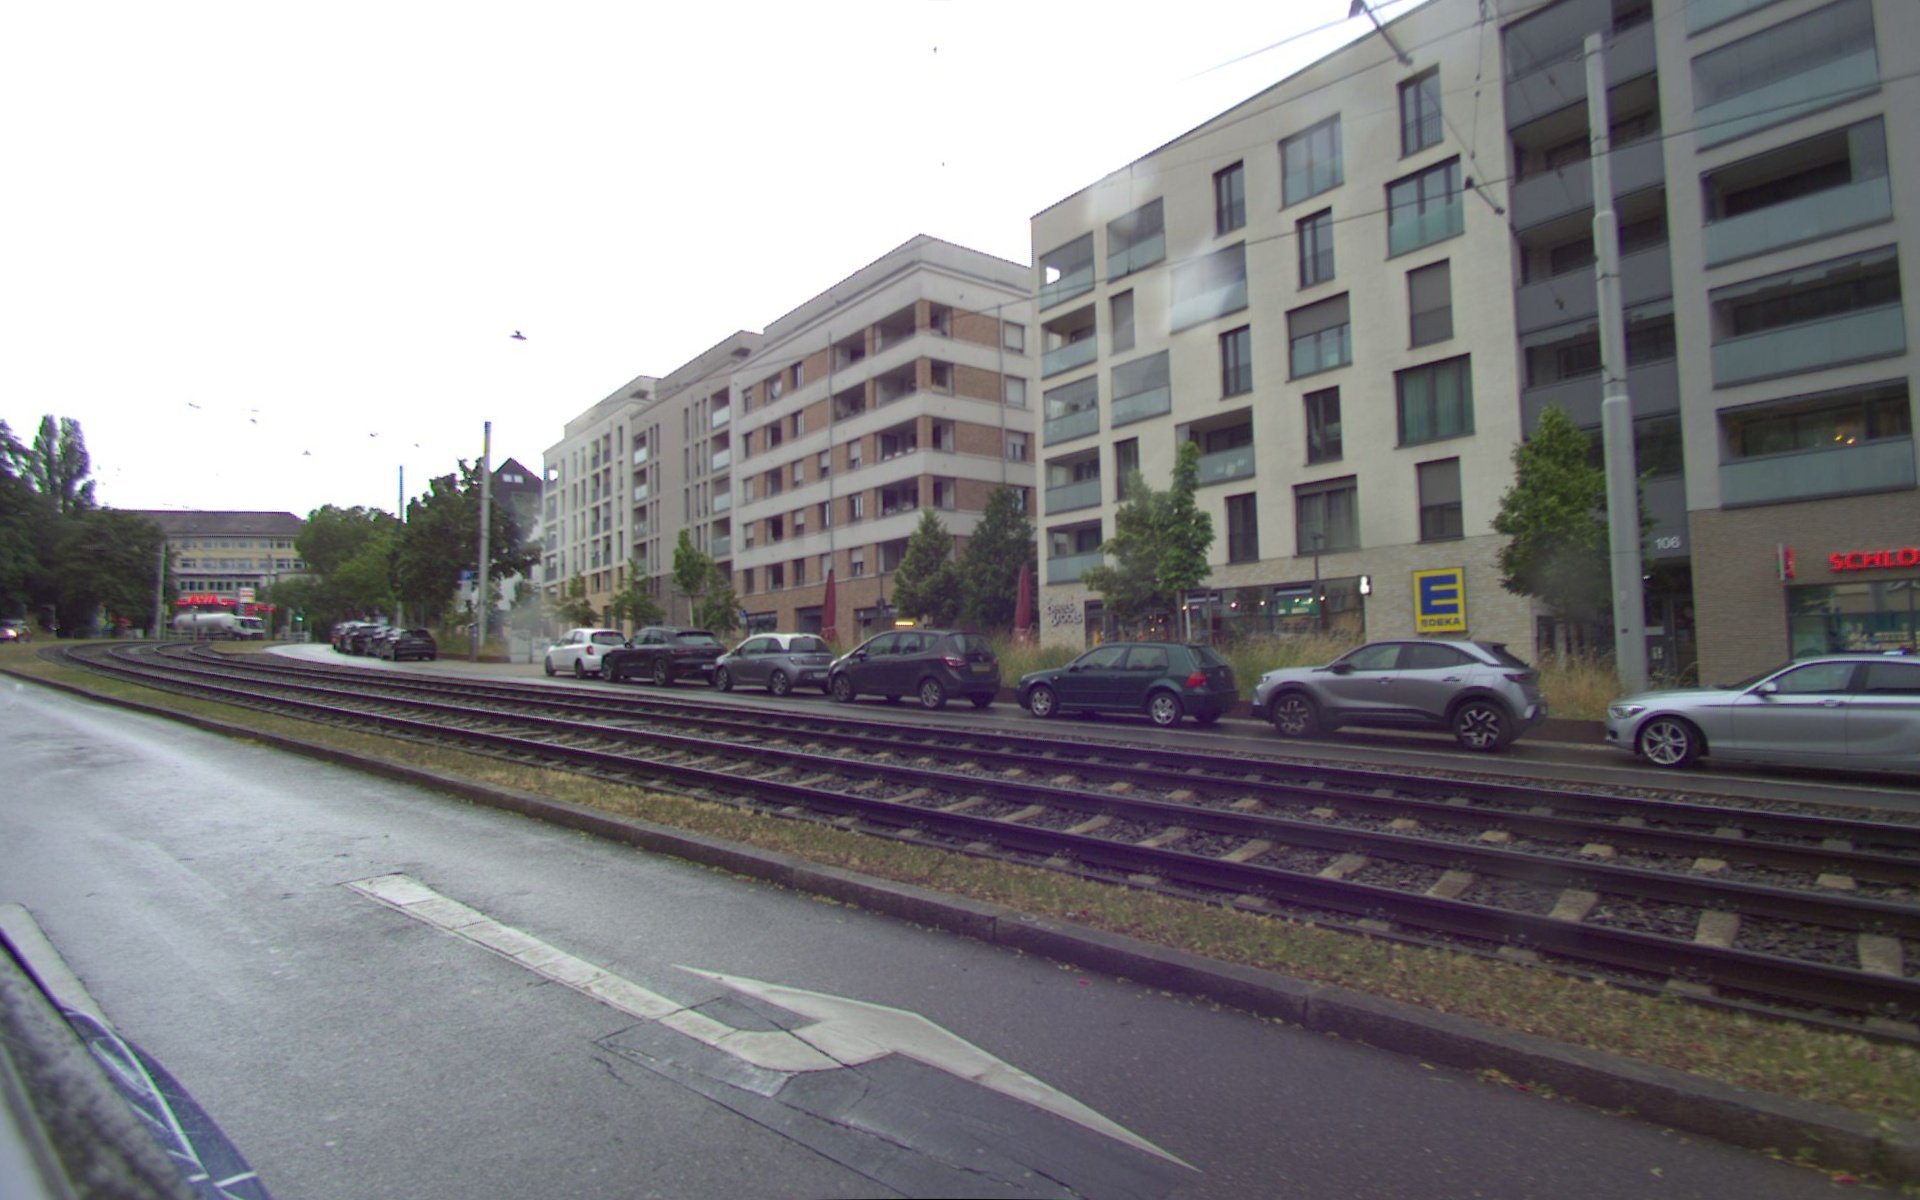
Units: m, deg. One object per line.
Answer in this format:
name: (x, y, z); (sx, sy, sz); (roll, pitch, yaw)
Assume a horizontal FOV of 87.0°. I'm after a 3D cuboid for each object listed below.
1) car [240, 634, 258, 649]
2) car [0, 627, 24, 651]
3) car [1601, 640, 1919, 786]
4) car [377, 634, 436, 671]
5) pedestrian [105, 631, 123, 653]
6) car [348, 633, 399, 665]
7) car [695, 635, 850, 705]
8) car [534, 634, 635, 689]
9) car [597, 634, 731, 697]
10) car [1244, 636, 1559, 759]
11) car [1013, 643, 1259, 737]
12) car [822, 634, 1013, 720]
car: (-81.138, 4.721, 115.530); (1.641, 1.619, 3.818); (-1, 0, -34)
car: (-62.356, 2.525, 65.913); (3.667, 1.475, 1.573); (-1, -2, 40)
car: (10.183, 1.251, 11.870); (4.327, 1.475, 1.663); (-1, -1, 40)
car: (-24.888, 2.310, 45.482); (1.630, 1.475, 3.676); (-1, 0, -40)
pedestrian: (-72.938, 3.622, 87.289); (0.805, 1.777, 0.751); (3, -4, -13)
car: (-29.958, 2.454, 51.684); (1.630, 1.475, 3.676); (-1, 0, -40)
car: (-4.640, 1.660, 24.823); (3.926, 1.516, 1.663); (-1, -1, 40)
car: (-11.757, 1.866, 31.578); (1.626, 1.516, 3.784); (1, -1, -43)
car: (-8.232, 1.737, 27.929); (1.660, 1.516, 4.408); (1, -1, -44)
car: (6.488, 1.337, 15.073); (4.042, 1.541, 1.665); (-1, -1, 36)
car: (3.036, 1.502, 17.958); (4.030, 1.391, 1.663); (-1, -1, 40)
car: (-0.951, 1.519, 21.133); (3.926, 1.575, 1.663); (-1, -1, 40)
